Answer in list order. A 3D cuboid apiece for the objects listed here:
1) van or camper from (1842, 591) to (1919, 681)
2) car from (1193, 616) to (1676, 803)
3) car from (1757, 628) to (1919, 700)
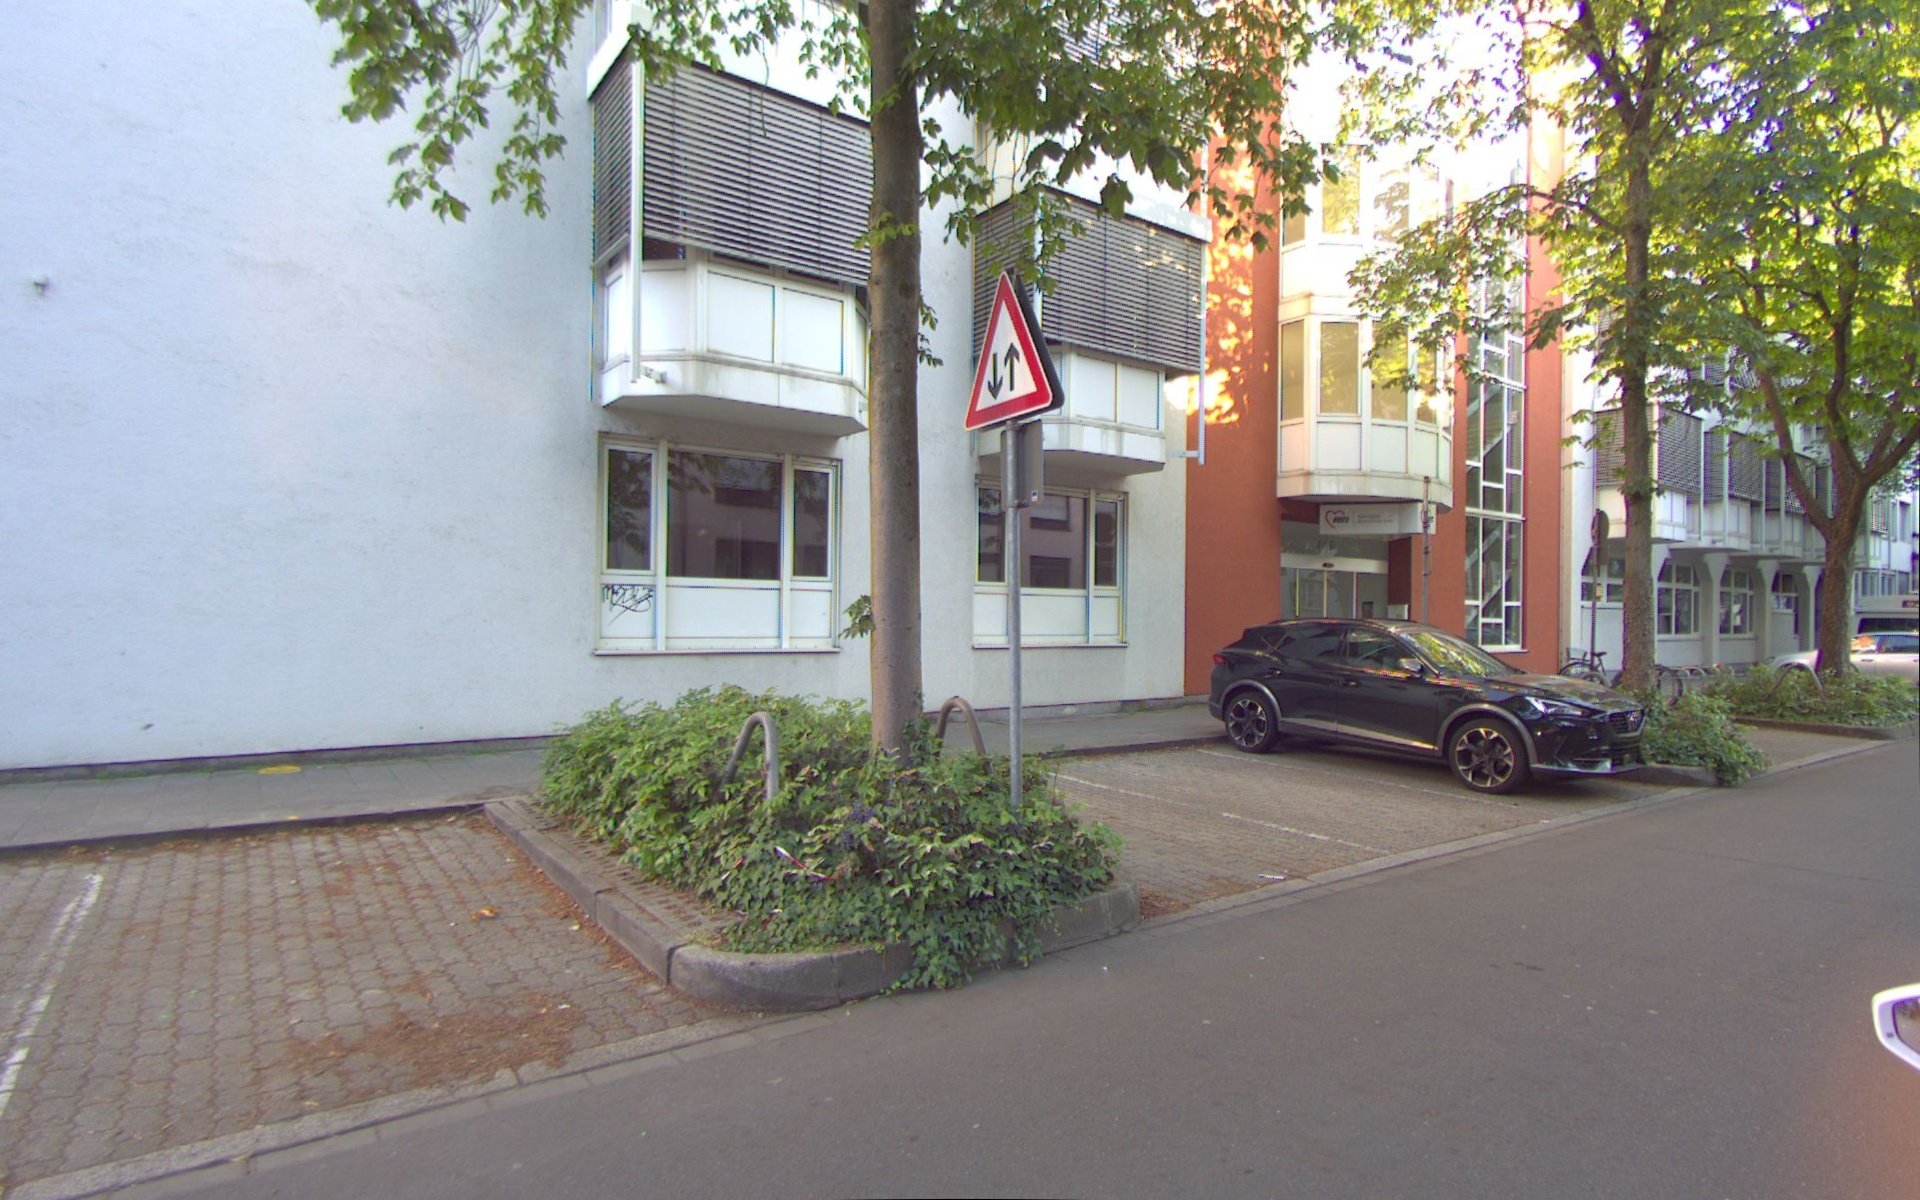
[{"bbox_3d":[27.902,1.024,28.041,1.981,2.511,4.632,1,-1,-36],"label":"van or camper"},{"bbox_3d":[4.717,0.951,10.614,1.768,1.537,4.325,1,-1,-35],"label":"car"},{"bbox_3d":[21.161,1.441,23.240,1.767,1.537,3.942,1,-1,-35],"label":"car"}]
